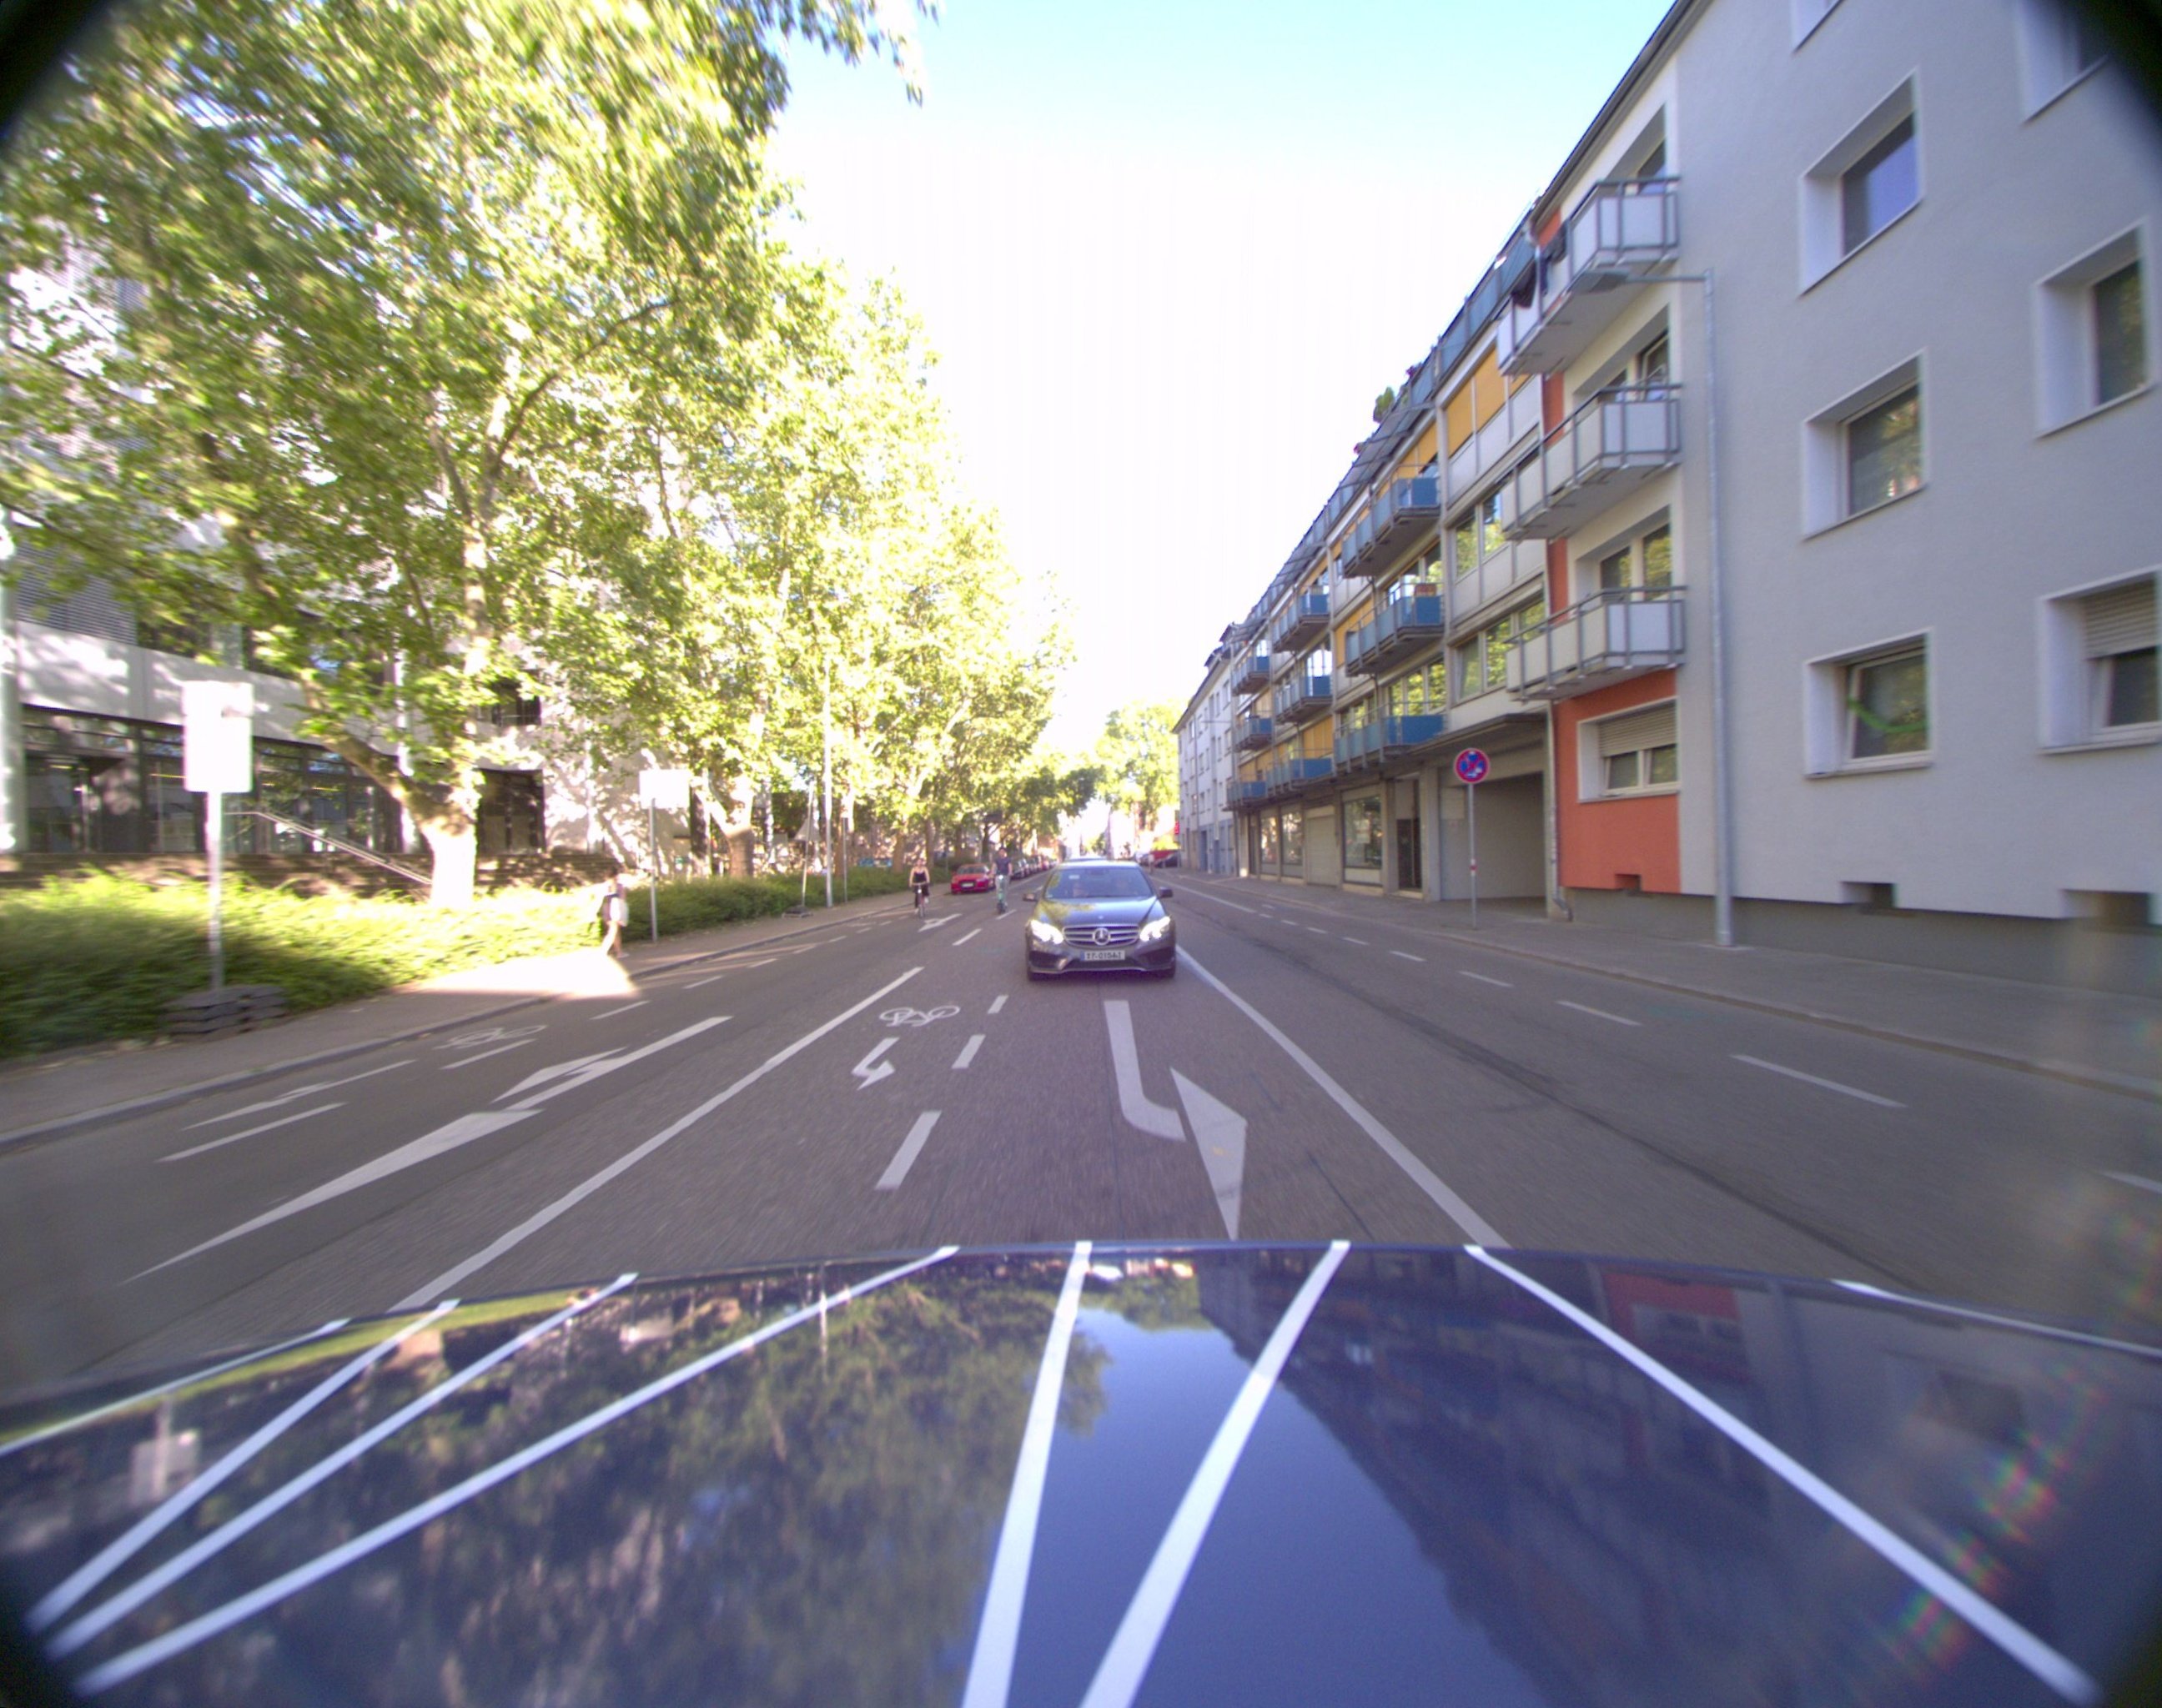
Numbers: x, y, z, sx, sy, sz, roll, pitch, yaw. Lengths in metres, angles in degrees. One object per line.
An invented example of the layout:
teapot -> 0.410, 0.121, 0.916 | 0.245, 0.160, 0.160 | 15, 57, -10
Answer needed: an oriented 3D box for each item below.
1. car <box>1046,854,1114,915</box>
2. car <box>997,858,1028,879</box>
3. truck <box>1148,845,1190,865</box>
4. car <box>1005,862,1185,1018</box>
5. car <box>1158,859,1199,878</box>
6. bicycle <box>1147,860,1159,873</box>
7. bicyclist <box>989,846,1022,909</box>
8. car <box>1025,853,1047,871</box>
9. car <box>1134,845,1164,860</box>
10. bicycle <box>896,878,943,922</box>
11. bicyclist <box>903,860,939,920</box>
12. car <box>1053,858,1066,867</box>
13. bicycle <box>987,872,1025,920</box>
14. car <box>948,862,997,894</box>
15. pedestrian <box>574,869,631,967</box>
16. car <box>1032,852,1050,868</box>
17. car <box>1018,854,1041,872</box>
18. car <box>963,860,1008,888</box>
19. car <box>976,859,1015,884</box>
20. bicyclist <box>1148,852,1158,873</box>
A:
car -> 0.057, 0.849, 23.162 | 1.746, 1.594, 4.001 | -2, 1, 4
car -> -5.167, 1.065, 57.725 | 1.898, 1.443, 4.077 | -2, 0, 1
truck -> 9.838, 0.098, 84.794 | 4.404, 2.146, 1.877 | -2, 1, -1
car -> 0.449, 0.914, 10.287 | 1.797, 1.460, 4.722 | 2, 1, 8
car -> 10.146, 1.547, 79.537 | 3.997, 1.825, 1.830 | -2, 1, -1
bicycle -> 5.634, 0.970, 59.598 | 0.692, 0.980, 2.631 | -1, 1, -1
bicyclist -> -2.166, 0.655, 21.916 | 0.770, 1.723, 0.901 | -3, 1, -1
car -> -4.729, 0.830, 79.964 | 1.898, 1.840, 4.077 | -2, 0, 1
car -> 9.811, -0.244, 110.029 | 3.997, 2.002, 1.999 | -2, 1, -2
bicycle -> -4.663, 1.304, 22.153 | 0.770, 1.129, 2.816 | -2, -1, -1
bicyclist -> -4.684, 1.030, 22.280 | 0.770, 1.670, 0.895 | -3, 1, -1
car -> -3.536, 1.404, 127.130 | 1.898, 1.542, 4.077 | -2, 0, 1
bicycle -> -2.127, 1.159, 21.843 | 0.770, 1.129, 2.814 | -3, 2, -1
car -> -5.357, 1.149, 38.114 | 1.898, 1.435, 4.076 | -2, 0, -1
pedestrian -> -8.084, 1.060, 12.846 | 0.462, 1.585, 0.682 | -2, 1, -1
car -> -4.761, 0.732, 90.954 | 1.898, 1.807, 4.077 | -2, 0, 1
car -> -5.061, 0.871, 75.208 | 1.898, 1.642, 4.077 | -2, 0, 1
car -> -5.339, 1.079, 42.833 | 1.898, 1.439, 4.077 | -2, 0, 1
car -> -5.359, 1.089, 48.336 | 1.898, 1.443, 4.077 | -2, 0, 1
bicyclist -> 5.628, 0.645, 59.643 | 0.692, 1.621, 0.758 | -1, 1, -1
